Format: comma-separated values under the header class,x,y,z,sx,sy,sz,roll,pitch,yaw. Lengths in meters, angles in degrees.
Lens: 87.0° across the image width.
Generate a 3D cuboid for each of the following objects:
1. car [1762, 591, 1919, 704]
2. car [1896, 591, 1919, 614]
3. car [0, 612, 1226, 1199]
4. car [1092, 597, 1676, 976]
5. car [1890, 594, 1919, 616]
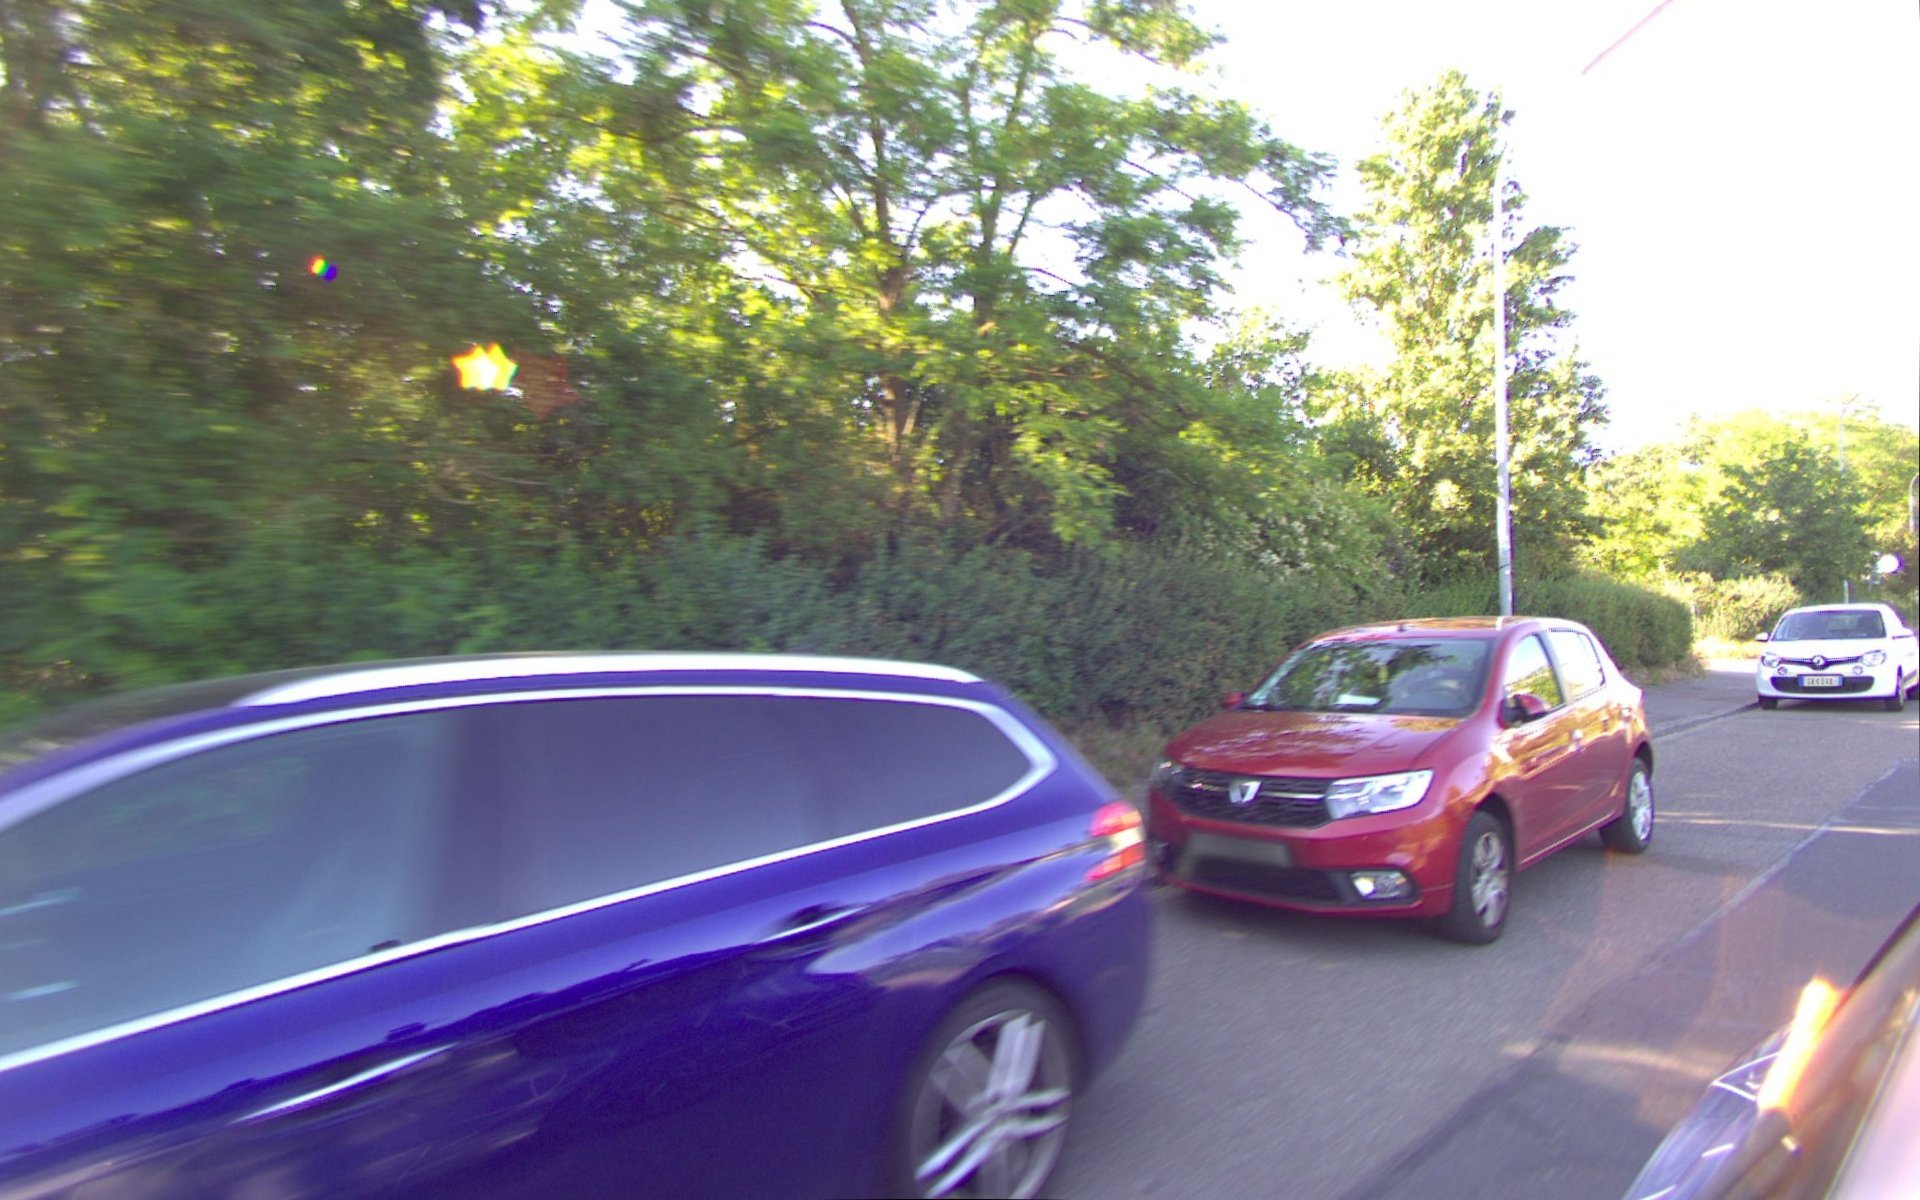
class,x,y,z,sx,sy,sz,roll,pitch,yaw
car,13.874,0.685,15.684,3.493,1.558,1.558,0,-3,-41
car,84.829,0.225,88.432,1.988,2.042,4.453,1,0,-45
car,-1.490,0.821,2.104,4.576,1.463,1.656,0,-3,-42
car,2.673,0.785,5.965,3.772,1.506,1.656,0,-3,-42
car,76.023,0.421,79.604,1.745,1.717,4.152,1,0,-44
